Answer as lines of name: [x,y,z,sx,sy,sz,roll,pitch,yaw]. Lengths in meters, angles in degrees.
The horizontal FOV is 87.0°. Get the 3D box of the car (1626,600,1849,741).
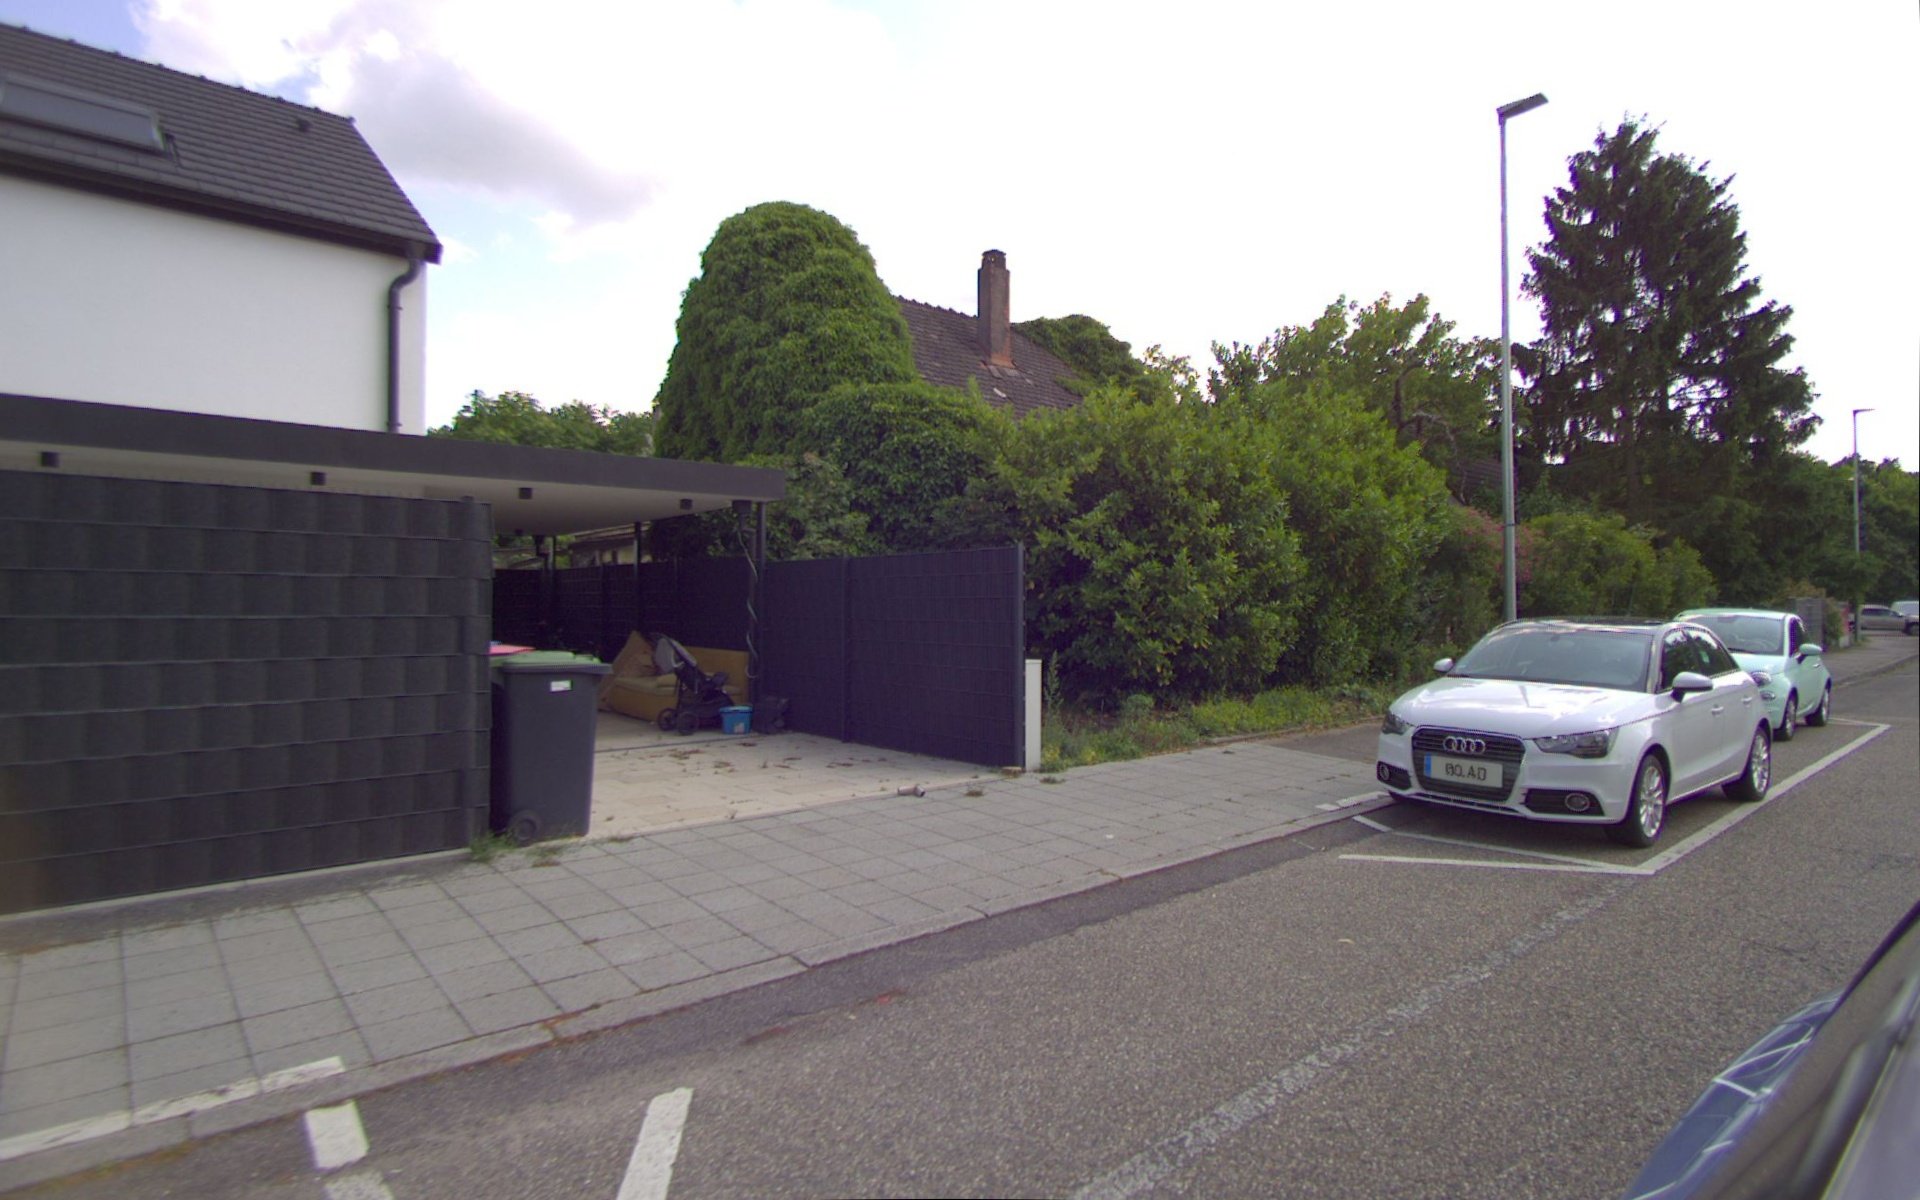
car: [10.009,0.779,12.935,3.690,1.539,1.584,0,0,-41]

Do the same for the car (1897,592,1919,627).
car: [56.603,0.545,57.678,4.511,1.977,1.705,0,0,38]

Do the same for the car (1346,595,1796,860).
car: [4.699,0.730,7.611,3.680,1.505,1.725,0,0,-38]

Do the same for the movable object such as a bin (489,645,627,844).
movable object such as a bin: [-2.361,0.810,5.951,0.619,1.052,0.517,0,0,-41]

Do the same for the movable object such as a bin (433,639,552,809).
movable object such as a bin: [-3.179,0.810,6.883,0.619,1.052,0.517,0,0,-41]

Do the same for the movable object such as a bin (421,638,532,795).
movable object such as a bin: [-3.534,0.819,7.399,0.619,1.052,0.517,0,0,-41]

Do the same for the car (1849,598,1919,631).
car: [52.162,0.790,55.894,4.511,1.800,1.705,0,0,38]
